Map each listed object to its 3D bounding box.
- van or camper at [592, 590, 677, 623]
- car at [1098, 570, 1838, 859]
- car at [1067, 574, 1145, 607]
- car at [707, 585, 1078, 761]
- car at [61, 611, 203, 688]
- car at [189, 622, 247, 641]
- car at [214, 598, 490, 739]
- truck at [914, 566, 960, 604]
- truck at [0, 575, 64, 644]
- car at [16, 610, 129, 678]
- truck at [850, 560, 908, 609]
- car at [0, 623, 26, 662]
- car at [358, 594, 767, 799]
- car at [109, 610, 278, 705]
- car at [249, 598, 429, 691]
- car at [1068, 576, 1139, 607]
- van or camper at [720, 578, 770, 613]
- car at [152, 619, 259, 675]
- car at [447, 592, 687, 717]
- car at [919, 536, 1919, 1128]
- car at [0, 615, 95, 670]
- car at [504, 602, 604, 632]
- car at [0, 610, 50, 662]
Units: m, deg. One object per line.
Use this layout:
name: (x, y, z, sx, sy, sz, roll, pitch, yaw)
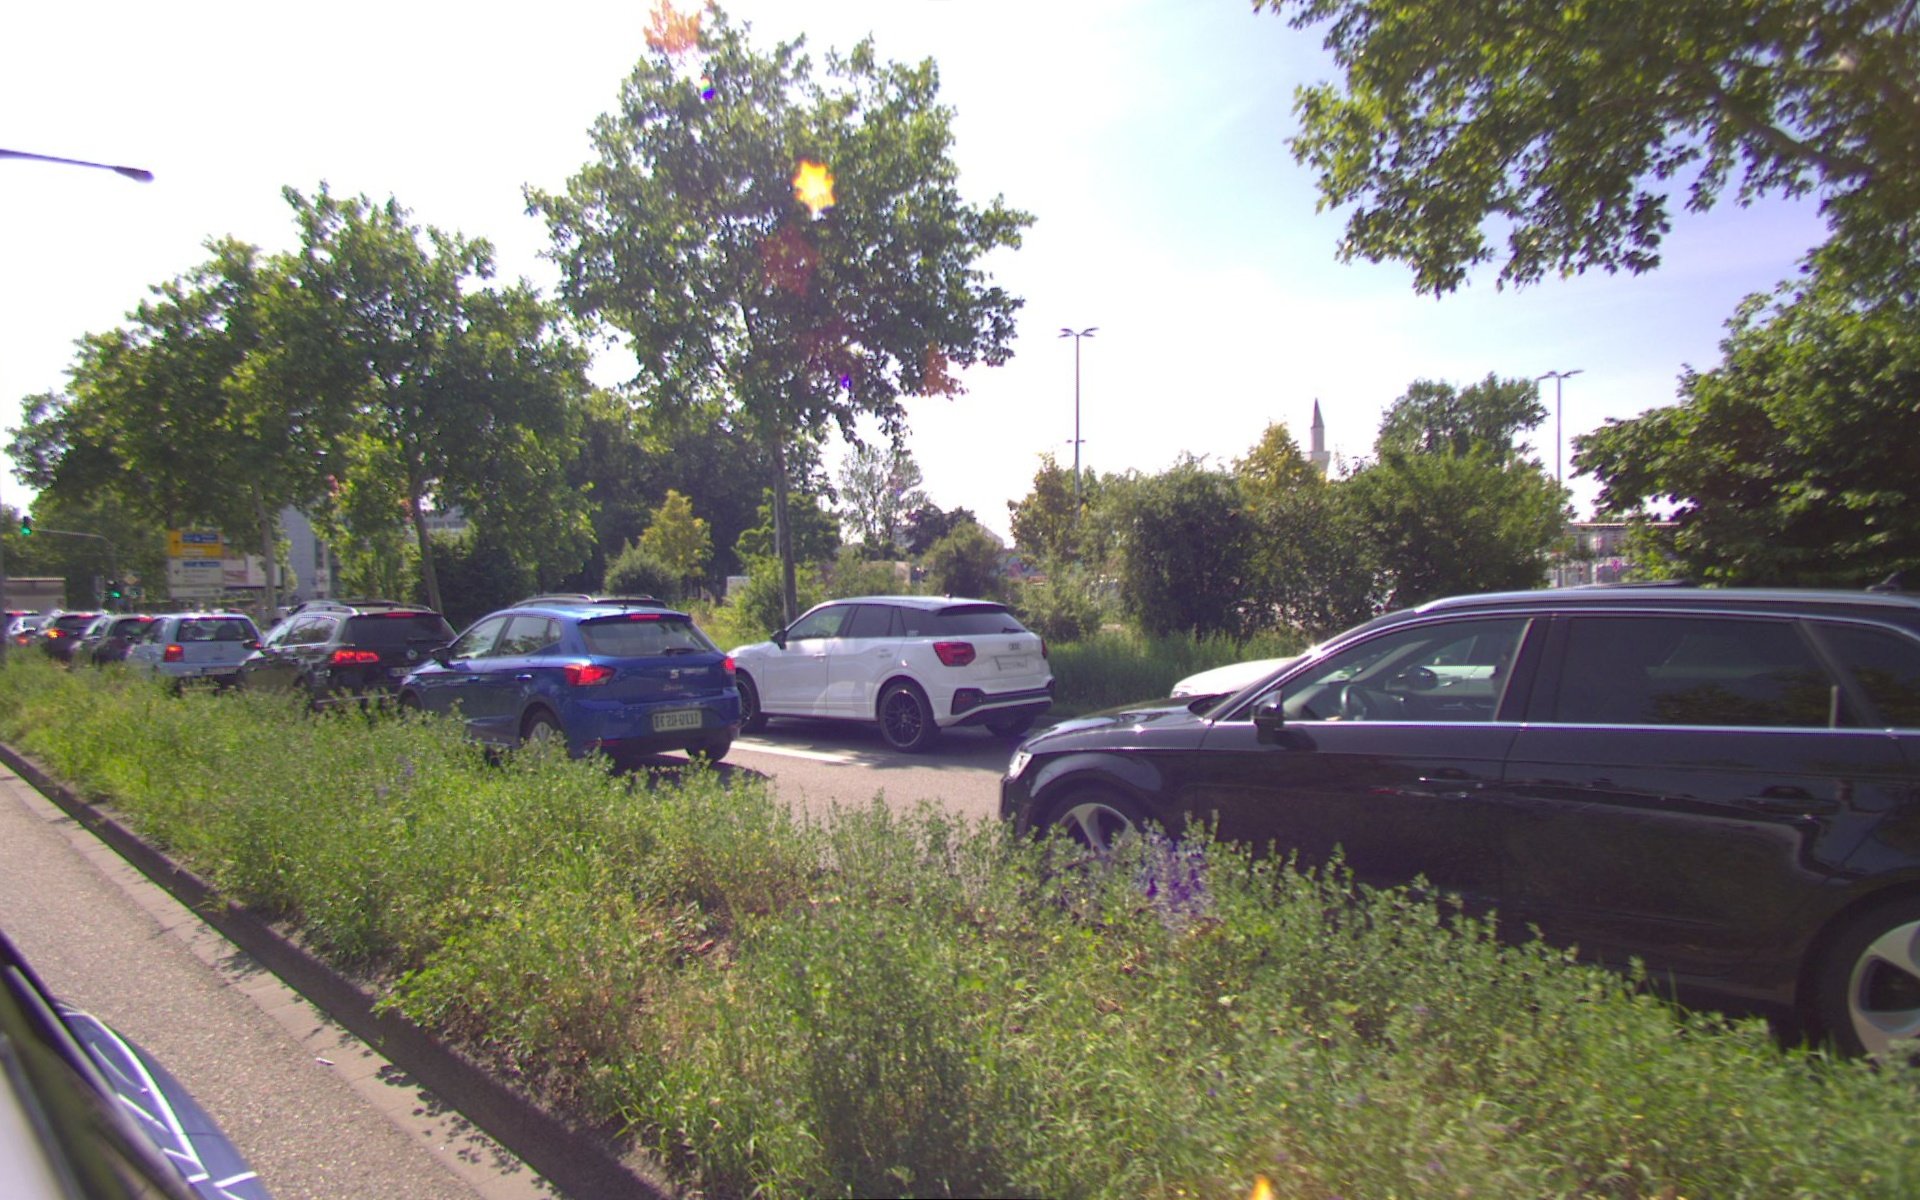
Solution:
van or camper: (-23.439, 0.450, 72.980, 5.453, 2.226, 2.191, -2, 1, 8)
car: (3.327, 0.617, 7.245, 4.426, 1.462, 1.714, -2, -1, 41)
car: (12.398, -0.804, 85.967, 6.365, 2.548, 2.382, -2, 0, 9)
car: (-0.847, 0.675, 10.827, 3.937, 1.541, 1.671, -2, -1, 41)
car: (-17.646, 1.006, 21.504, 4.216, 1.485, 1.671, -2, -2, 41)
car: (-63.898, 2.669, 87.196, 1.824, 1.460, 3.995, -2, 0, 4)
car: (-8.157, 0.799, 13.366, 4.825, 1.541, 1.739, -2, -1, 41)
truck: (-1.822, -1.221, 85.646, 2.889, 2.913, 9.602, -2, 0, 4)
truck: (-50.359, 0.585, 54.171, 6.687, 3.498, 2.775, -2, -2, 41)
car: (-23.012, 1.089, 26.188, 4.238, 1.598, 1.671, -2, -1, 41)
truck: (-6.001, -1.142, 76.595, 3.119, 3.336, 8.915, -2, 0, 4)
car: (-37.903, 1.659, 39.618, 3.727, 1.488, 1.576, -2, -1, 41)
car: (-3.848, 0.742, 9.448, 4.208, 1.500, 1.766, -2, -1, 40)
car: (-13.667, 0.953, 17.977, 3.813, 1.483, 1.671, -2, -1, 41)
car: (-13.215, 0.852, 21.417, 4.764, 1.750, 1.803, 0, 0, 40)
car: (12.713, -0.737, 89.523, 6.056, 2.548, 2.382, -2, 0, 9)
van or camper: (-20.310, -0.438, 95.842, 2.679, 3.123, 6.313, -2, 1, 6)
car: (-22.388, 1.343, 29.978, 4.081, 1.541, 1.672, -2, -2, 40)
car: (-6.095, 0.767, 15.472, 4.176, 1.659, 1.671, -2, -1, 41)
car: (2.090, 0.598, 3.960, 4.446, 1.476, 1.805, -2, -1, 40)
car: (-27.144, 1.226, 29.925, 4.521, 1.479, 1.778, -2, -1, 42)
car: (-21.848, 0.874, 54.610, 2.195, 1.424, 4.525, -1, 1, 34)
car: (-33.001, 1.202, 34.966, 4.692, 1.659, 1.801, 0, 0, 41)
